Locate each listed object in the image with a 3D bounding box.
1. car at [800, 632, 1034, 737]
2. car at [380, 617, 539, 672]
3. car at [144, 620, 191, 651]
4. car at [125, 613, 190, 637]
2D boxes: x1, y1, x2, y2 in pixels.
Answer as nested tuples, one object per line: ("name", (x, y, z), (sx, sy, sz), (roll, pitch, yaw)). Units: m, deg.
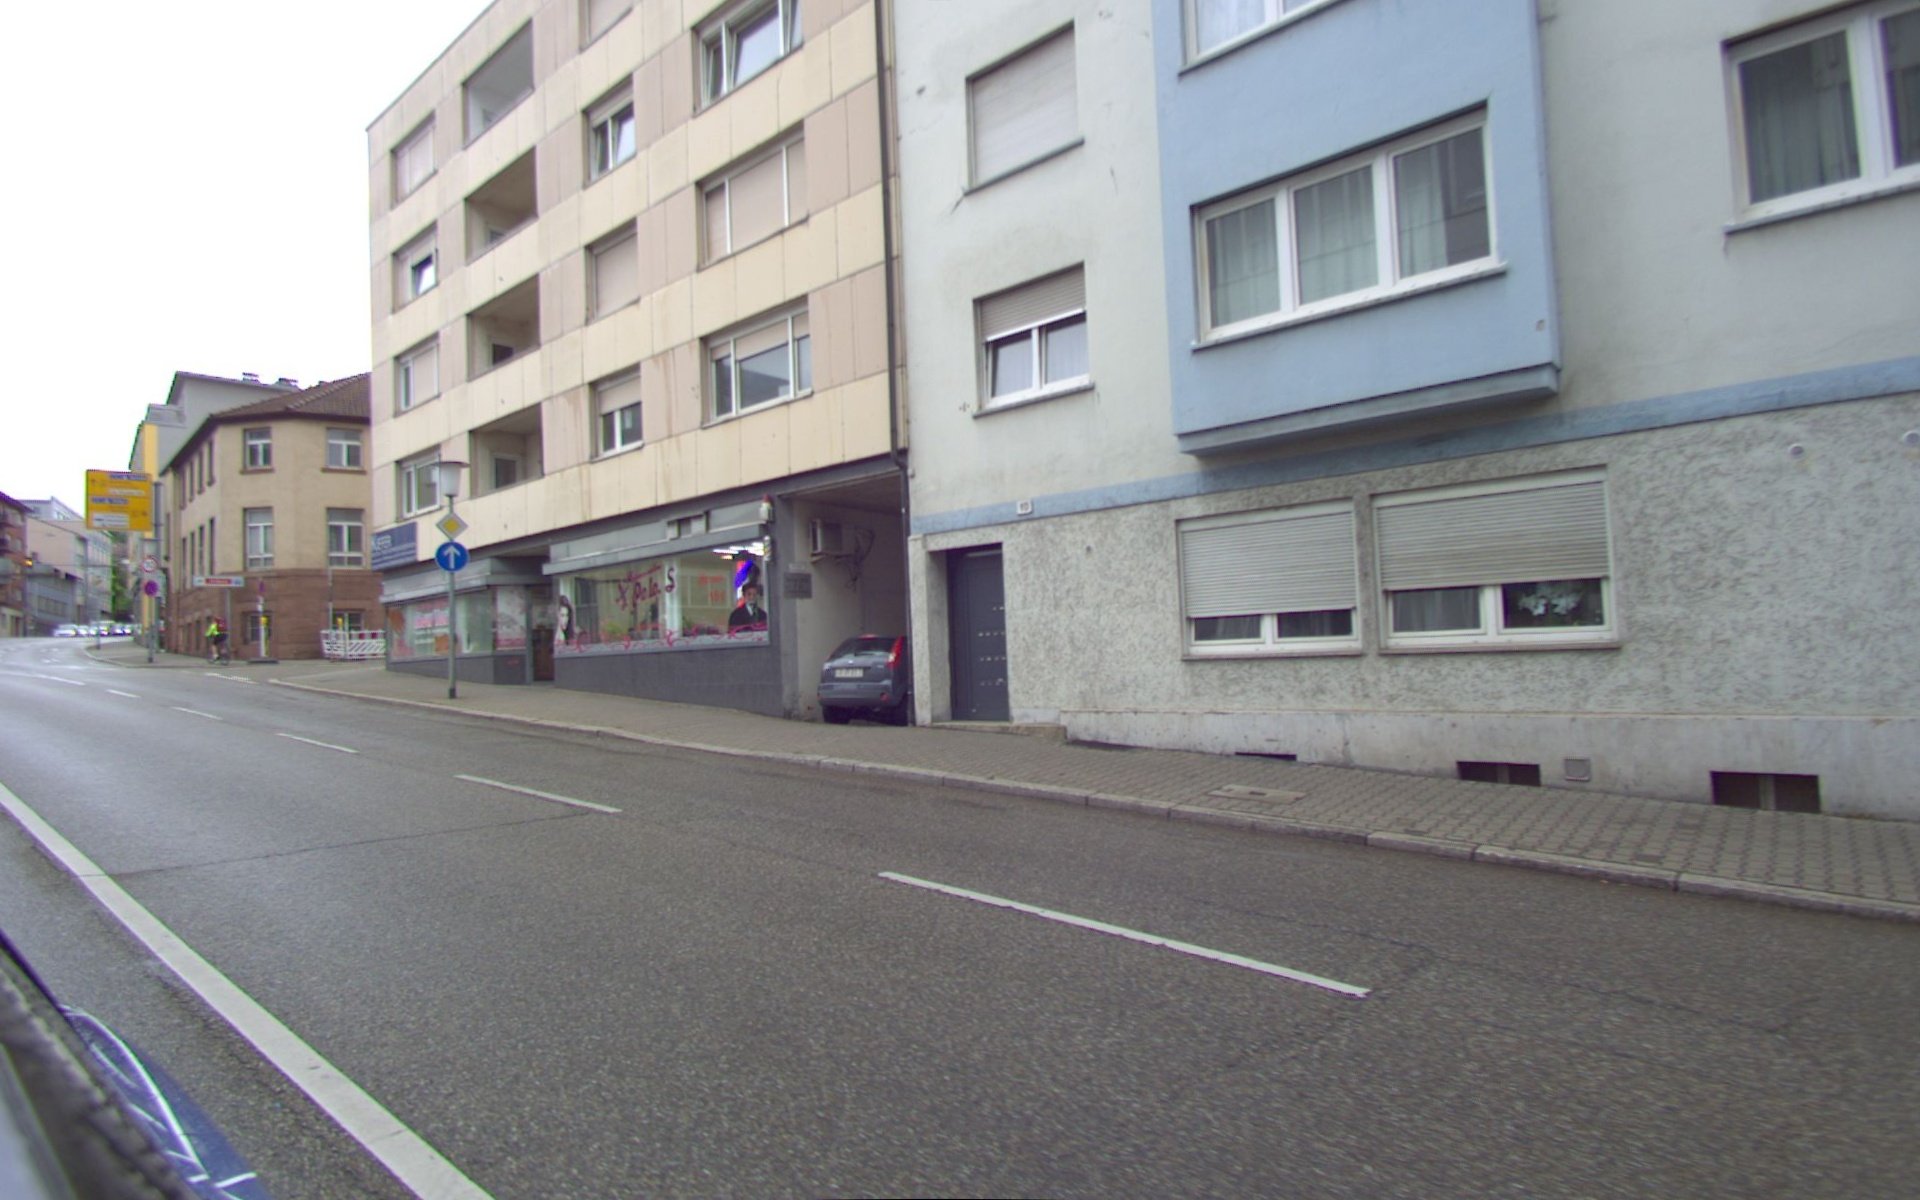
("car", (-0.535, 1.419, 16.062), (1.674, 1.361, 3.954), (-3, -9, 34))
("car", (-15.989, 1.380, 32.438), (4.295, 1.515, 1.757), (-1, 0, -39))
("car", (-41.942, 1.883, 53.540), (1.834, 1.465, 3.970), (-3, 1, -39))
("car", (-64.362, 2.034, 81.271), (1.841, 1.817, 4.266), (1, -2, -1))
